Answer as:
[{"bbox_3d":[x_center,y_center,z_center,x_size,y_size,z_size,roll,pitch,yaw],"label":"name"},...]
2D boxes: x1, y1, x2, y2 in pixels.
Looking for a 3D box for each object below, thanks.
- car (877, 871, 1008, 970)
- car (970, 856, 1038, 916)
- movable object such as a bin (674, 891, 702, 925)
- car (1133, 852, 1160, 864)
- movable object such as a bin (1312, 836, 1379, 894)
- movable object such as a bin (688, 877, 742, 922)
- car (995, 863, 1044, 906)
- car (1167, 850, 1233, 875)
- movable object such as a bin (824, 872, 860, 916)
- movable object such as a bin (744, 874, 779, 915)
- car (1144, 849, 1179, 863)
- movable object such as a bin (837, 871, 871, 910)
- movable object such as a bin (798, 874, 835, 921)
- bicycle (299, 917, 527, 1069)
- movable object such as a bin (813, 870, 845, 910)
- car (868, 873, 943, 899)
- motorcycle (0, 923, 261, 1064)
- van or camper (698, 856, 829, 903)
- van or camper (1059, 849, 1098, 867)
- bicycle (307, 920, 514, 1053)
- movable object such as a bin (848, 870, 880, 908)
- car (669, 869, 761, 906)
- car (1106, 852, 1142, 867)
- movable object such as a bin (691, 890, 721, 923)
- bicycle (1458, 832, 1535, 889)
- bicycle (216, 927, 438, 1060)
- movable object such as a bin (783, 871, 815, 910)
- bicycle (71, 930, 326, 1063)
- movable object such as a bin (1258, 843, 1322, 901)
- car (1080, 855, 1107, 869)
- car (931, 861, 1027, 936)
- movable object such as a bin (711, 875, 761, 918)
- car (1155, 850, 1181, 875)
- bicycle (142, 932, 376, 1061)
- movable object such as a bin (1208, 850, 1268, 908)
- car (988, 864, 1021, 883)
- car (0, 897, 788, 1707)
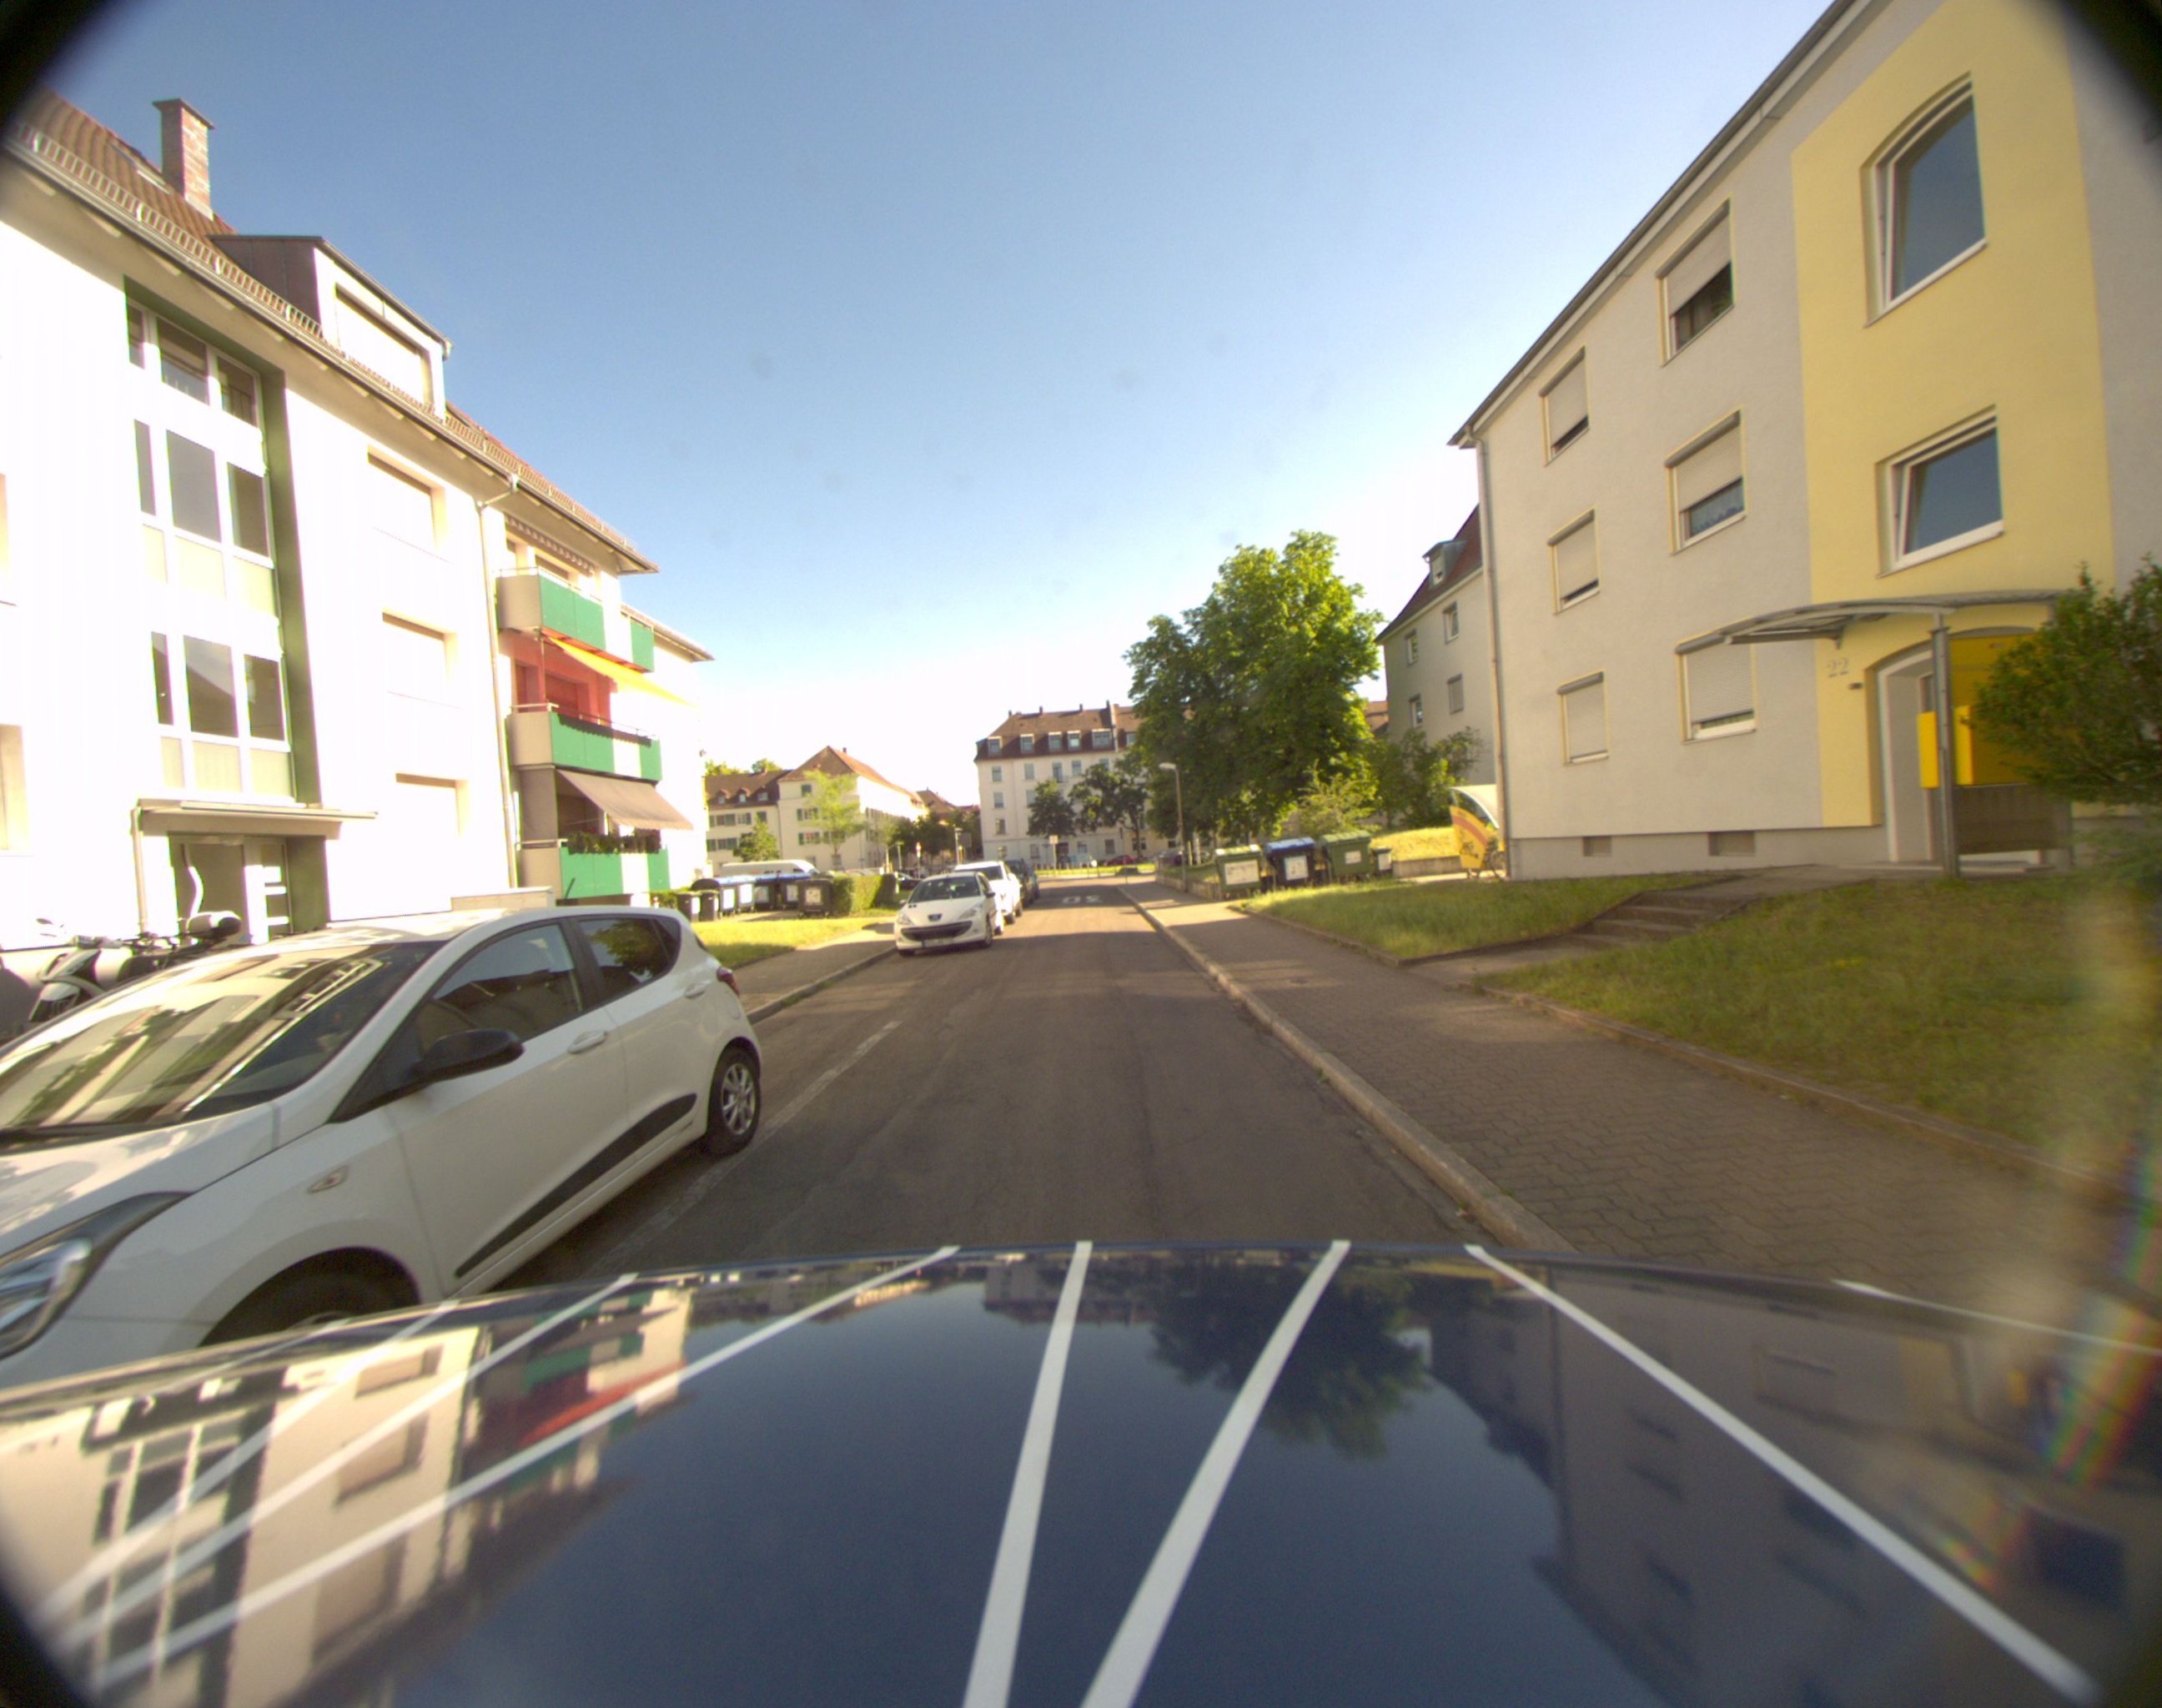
[{"bbox_3d":[-2.542,1.177,14.911,1.695,1.410,4.097,-6,0,0],"label":"car"},{"bbox_3d":[-2.679,1.072,27.429,1.855,1.790,4.253,-7,0,0],"label":"car"},{"bbox_3d":[-12.806,1.761,24.768,0.628,1.047,0.580,0,0,-2],"label":"movable object such as a bin"},{"bbox_3d":[7.966,0.466,92.441,3.192,1.311,1.545,-3,0,0],"label":"car"},{"bbox_3d":[7.491,0.300,21.605,1.363,1.445,1.073,-8,0,0],"label":"movable object such as a bin"},{"bbox_3d":[-12.795,1.581,26.626,1.239,1.439,1.278,-3,0,-2],"label":"movable object such as a bin"},{"bbox_3d":[-2.618,1.262,33.052,1.728,1.528,3.951,-6,0,-1],"label":"car"},{"bbox_3d":[7.998,0.552,51.478,4.140,1.488,1.729,-3,0,0],"label":"car"},{"bbox_3d":[-8.337,1.397,26.517,0.921,1.439,0.866,-3,0,-1],"label":"movable object such as a bin"},{"bbox_3d":[-12.262,1.545,29.187,0.866,1.510,0.922,-3,0,-1],"label":"movable object such as a bin"},{"bbox_3d":[9.172,0.199,86.780,3.787,1.437,1.625,-3,0,2],"label":"car"},{"bbox_3d":[-8.291,1.320,27.760,0.921,1.318,0.866,-3,0,-1],"label":"movable object such as a bin"},{"bbox_3d":[-8.740,1.428,25.110,0.866,1.439,0.922,-3,0,-4],"label":"movable object such as a bin"},{"bbox_3d":[-6.551,1.306,7.615,0.546,1.163,1.873,-2,0,2],"label":"bicycle"},{"bbox_3d":[-9.665,1.370,29.196,0.866,1.439,0.922,-3,0,-4],"label":"movable object such as a bin"},{"bbox_3d":[-10.484,1.903,45.664,3.996,1.341,1.802,-3,0,2],"label":"car"},{"bbox_3d":[-10.653,1.493,8.636,0.442,1.231,1.977,-2,0,0],"label":"motorcycle"},{"bbox_3d":[-19.191,1.518,46.133,6.980,2.485,2.177,-3,0,2],"label":"van or camper"},{"bbox_3d":[-0.294,0.437,87.205,4.355,1.852,2.000,-3,0,-1],"label":"van or camper"},{"bbox_3d":[-7.255,1.382,8.368,0.579,1.126,1.873,-2,0,0],"label":"bicycle"},{"bbox_3d":[-8.277,1.326,28.987,0.921,1.390,0.866,-3,0,-1],"label":"movable object such as a bin"},{"bbox_3d":[-23.790,2.175,49.500,4.992,2.002,2.000,-3,0,3],"label":"car"},{"bbox_3d":[4.883,0.584,86.843,3.996,1.477,1.722,-3,0,2],"label":"car"},{"bbox_3d":[-12.579,1.749,25.481,0.718,1.047,0.580,0,0,-2],"label":"movable object such as a bin"},{"bbox_3d":[9.822,0.147,18.050,0.641,1.243,2.009,-4,0,1],"label":"bicycle"},{"bbox_3d":[-8.208,1.465,8.409,0.545,1.114,1.873,-2,0,0],"label":"bicycle"},{"bbox_3d":[-10.778,1.384,29.053,0.866,1.439,0.922,-3,0,-4],"label":"movable object such as a bin"},{"bbox_3d":[-9.653,1.500,8.450,0.598,1.109,1.873,-3,0,0],"label":"bicycle"},{"bbox_3d":[5.910,0.498,21.594,1.358,1.451,1.082,-8,0,0],"label":"movable object such as a bin"},{"bbox_3d":[1.477,0.958,92.119,3.192,1.499,1.545,-3,0,0],"label":"car"},{"bbox_3d":[-2.572,1.065,20.222,1.805,1.583,4.581,-5,0,0],"label":"car"},{"bbox_3d":[-12.709,1.543,28.034,1.239,1.439,1.278,-3,0,-2],"label":"movable object such as a bin"},{"bbox_3d":[6.256,0.586,54.650,1.678,1.645,3.305,-3,0,4],"label":"car"},{"bbox_3d":[-8.925,1.495,8.387,0.539,1.076,1.873,-1,0,0],"label":"bicycle"},{"bbox_3d":[4.426,0.683,21.537,1.318,1.451,1.198,-7,0,0],"label":"movable object such as a bin"},{"bbox_3d":[-6.449,1.623,64.029,1.674,1.432,3.794,-3,0,-22],"label":"car"},{"bbox_3d":[-2.808,1.117,2.926,1.717,1.501,3.853,-7,0,0],"label":"car"}]
